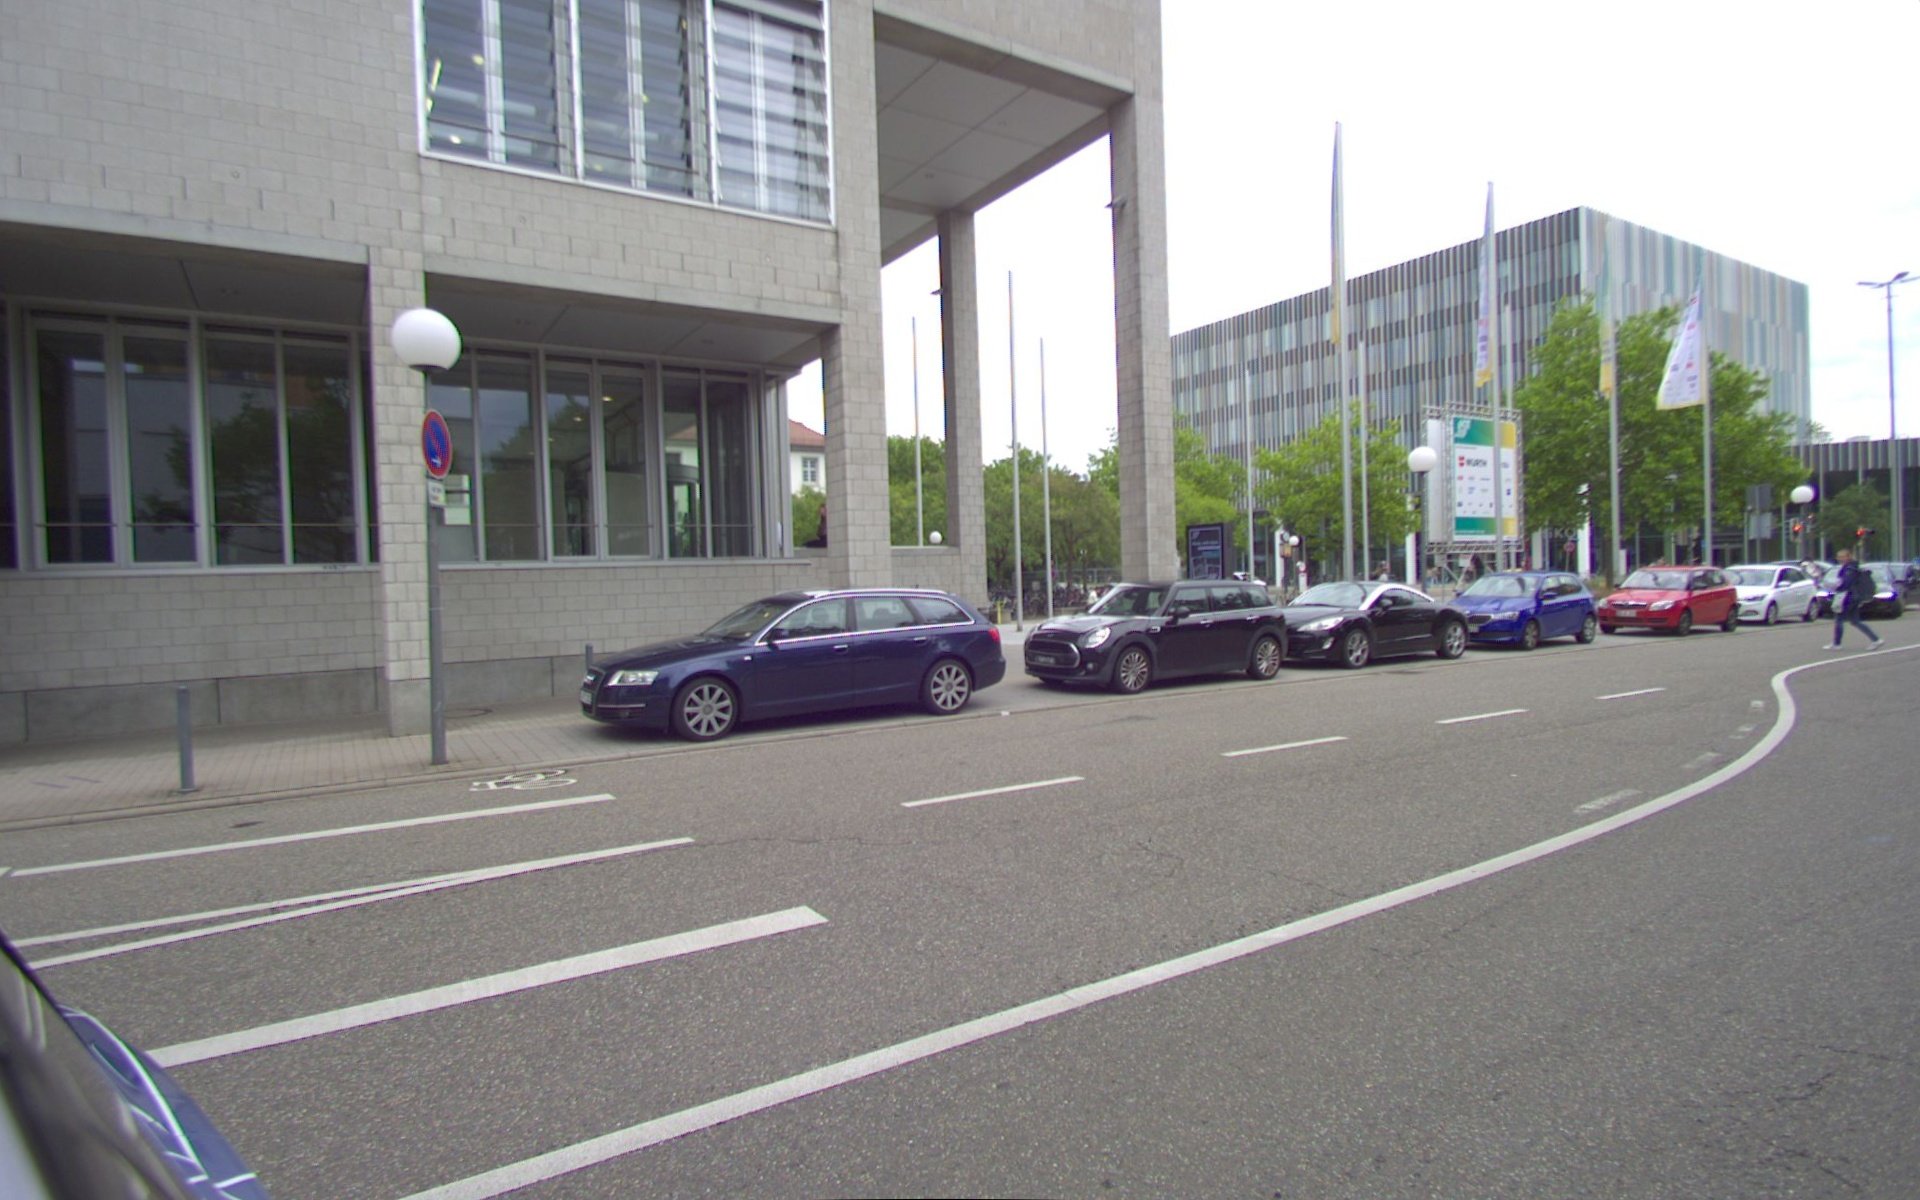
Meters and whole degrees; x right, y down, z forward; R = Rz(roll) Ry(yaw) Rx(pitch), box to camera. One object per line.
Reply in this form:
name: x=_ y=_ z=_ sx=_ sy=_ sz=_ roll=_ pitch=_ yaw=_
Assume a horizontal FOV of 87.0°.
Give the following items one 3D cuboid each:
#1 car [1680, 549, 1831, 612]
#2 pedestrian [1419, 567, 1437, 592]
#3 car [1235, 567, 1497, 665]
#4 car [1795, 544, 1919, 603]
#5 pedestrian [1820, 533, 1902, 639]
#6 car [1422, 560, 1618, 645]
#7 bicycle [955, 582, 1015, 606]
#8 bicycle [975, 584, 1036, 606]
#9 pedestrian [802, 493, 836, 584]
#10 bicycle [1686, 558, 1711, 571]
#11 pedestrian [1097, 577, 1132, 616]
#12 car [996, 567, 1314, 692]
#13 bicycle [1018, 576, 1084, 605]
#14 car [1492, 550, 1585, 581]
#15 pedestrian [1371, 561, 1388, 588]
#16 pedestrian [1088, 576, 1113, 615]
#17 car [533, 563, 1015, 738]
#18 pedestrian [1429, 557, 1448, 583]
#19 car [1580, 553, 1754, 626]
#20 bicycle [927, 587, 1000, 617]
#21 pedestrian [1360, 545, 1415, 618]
car: x=20.233 y=-0.510 z=25.723 sx=3.794 sy=1.464 sz=1.872 roll=-3 pitch=1 yaw=-33
pedestrian: x=37.650 y=-1.650 z=81.450 sx=0.840 sy=2.029 sz=1.004 roll=0 pitch=-2 yaw=-24
car: x=6.879 y=0.224 z=17.032 sx=4.343 sy=1.453 sz=1.860 roll=-1 pitch=0 yaw=-32
car: x=24.605 y=-0.729 z=27.889 sx=1.861 sy=1.412 sz=4.429 roll=-3 pitch=0 yaw=33
pedestrian: x=14.730 y=-0.233 z=16.550 sx=0.951 sy=1.674 sz=0.743 roll=-1 pitch=1 yaw=-29
car: x=11.078 y=-0.010 z=19.913 sx=4.305 sy=1.422 sz=1.705 roll=-3 pitch=2 yaw=-36
bicycle: x=1.460 y=-0.362 z=58.679 sx=3.336 sy=1.178 sz=1.059 roll=-4 pitch=1 yaw=-27
bicycle: x=2.560 y=-0.273 z=56.548 sx=3.335 sy=1.179 sz=1.059 roll=0 pitch=-2 yaw=-27
pedestrian: x=-2.696 y=-1.154 z=19.324 sx=0.621 sy=1.671 sz=0.808 roll=0 pitch=-1 yaw=-8
bicycle: x=53.857 y=-2.594 z=73.819 sx=0.478 sy=0.943 sz=2.006 roll=-2 pitch=2 yaw=7
pedestrian: x=5.924 y=-0.130 z=38.787 sx=0.954 sy=1.431 sz=0.853 roll=-3 pitch=1 yaw=-44
car: x=2.851 y=0.299 z=14.406 sx=4.445 sy=1.454 sz=1.829 roll=-2 pitch=3 yaw=-34
bicycle: x=4.089 y=-0.437 z=45.185 sx=3.055 sy=1.179 sz=0.750 roll=-3 pitch=1 yaw=-31
car: x=33.402 y=-1.975 z=58.519 sx=1.967 sy=1.630 sz=4.204 roll=-3 pitch=1 yaw=-35
pedestrian: x=32.085 y=-1.957 z=77.451 sx=0.986 sy=2.029 sz=0.856 roll=1 pitch=-2 yaw=-43
pedestrian: x=5.279 y=-0.188 z=38.006 sx=0.670 sy=1.423 sz=0.763 roll=-2 pitch=1 yaw=26
car: x=-1.959 y=0.414 z=11.276 sx=4.840 sy=1.463 sz=2.006 roll=-3 pitch=1 yaw=-33
pedestrian: x=38.042 y=-2.348 z=80.409 sx=0.840 sy=2.029 sz=1.004 roll=0 pitch=-2 yaw=-24
car: x=15.899 y=-0.297 z=22.695 sx=4.202 sy=1.484 sz=1.723 roll=-2 pitch=3 yaw=-33
bicycle: x=0.157 y=0.099 z=40.687 sx=3.055 sy=1.179 sz=0.624 roll=0 pitch=-2 yaw=-31
pedestrian: x=10.013 y=-0.434 z=23.720 sx=0.916 sy=1.653 sz=0.739 roll=-2 pitch=0 yaw=-30
